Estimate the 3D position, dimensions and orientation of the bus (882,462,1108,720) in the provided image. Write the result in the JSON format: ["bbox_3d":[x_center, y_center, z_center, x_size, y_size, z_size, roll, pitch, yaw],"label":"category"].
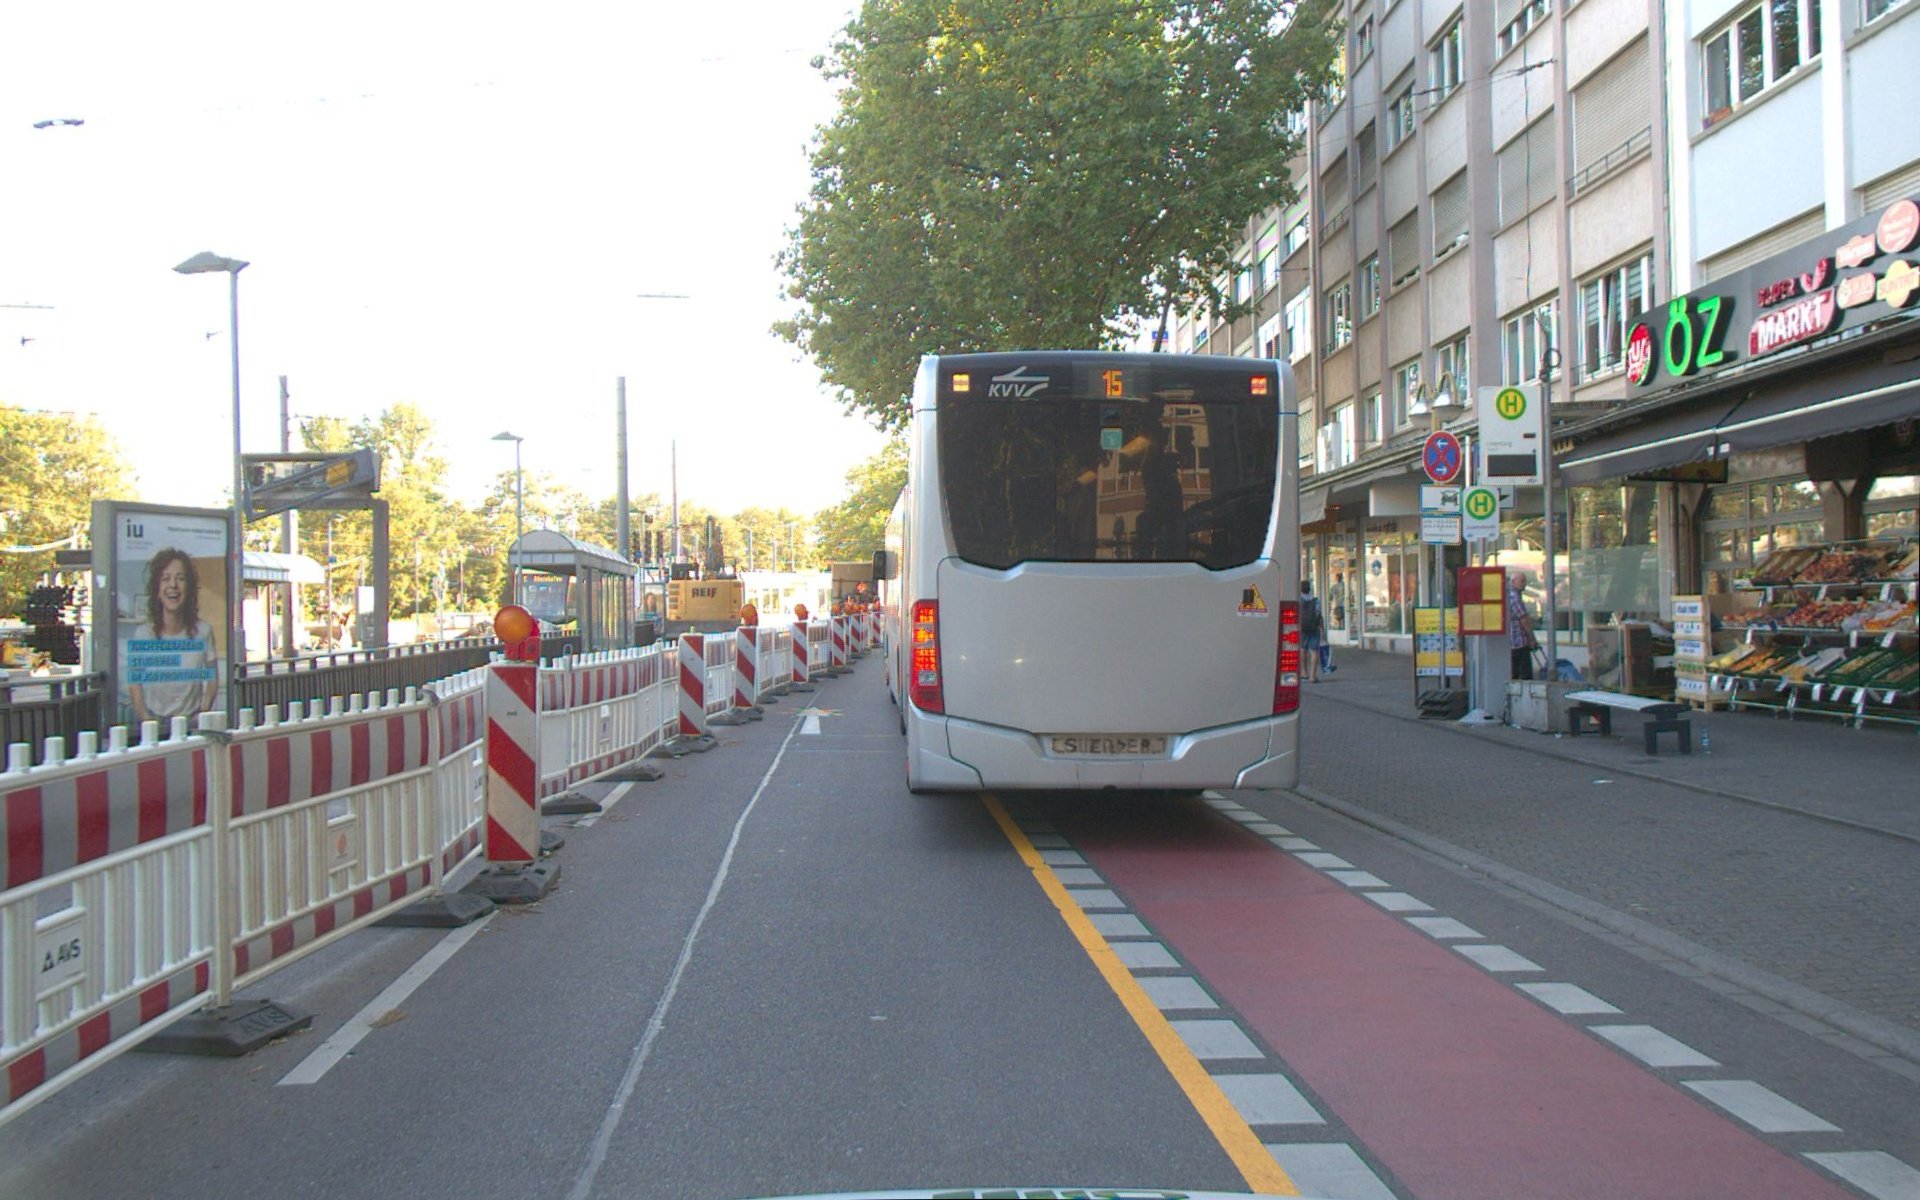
[{"bbox_3d":[0.230,-0.100,25.016,2.655,3.161,8.973,-1,0,-4],"label":"bus"}]

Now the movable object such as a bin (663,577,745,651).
[{"bbox_3d":[-8.548,0.455,55.621,2.593,2.358,4.894,-1,0,-8],"label":"movable object such as a bin"}]

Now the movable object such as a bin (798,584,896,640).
[{"bbox_3d":[-4.784,0.486,70.795,1.954,2.296,5.205,0,0,24],"label":"movable object such as a bin"}]

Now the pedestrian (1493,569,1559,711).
[{"bbox_3d":[6.879,0.483,20.119,0.632,1.702,0.556,-1,-1,6],"label":"pedestrian"}]

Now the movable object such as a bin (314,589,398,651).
[{"bbox_3d":[-27.437,0.883,75.275,2.107,2.685,4.599,-1,0,0],"label":"movable object such as a bin"}]

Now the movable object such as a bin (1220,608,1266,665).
[{"bbox_3d":[5.714,0.726,33.418,0.660,1.094,1.228,-2,1,-2],"label":"movable object such as a bin"}]

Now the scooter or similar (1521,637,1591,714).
[{"bbox_3d":[6.995,0.878,19.434,0.563,0.858,0.733,-1,0,1],"label":"scooter or similar"}]

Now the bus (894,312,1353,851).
[{"bbox_3d":[0.767,-0.126,15.211,2.679,3.194,10.697,0,0,-3],"label":"bus"}]

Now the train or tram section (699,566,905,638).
[{"bbox_3d":[-8.190,0.106,88.536,2.802,3.595,13.342,-1,0,36],"label":"train or tram section"}]

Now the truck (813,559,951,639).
[{"bbox_3d":[-3.627,-0.073,79.710,2.756,3.603,8.977,-1,0,25],"label":"truck"}]

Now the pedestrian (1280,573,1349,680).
[{"bbox_3d":[5.851,0.427,27.321,0.826,1.702,0.989,-2,0,-2],"label":"pedestrian"}]
